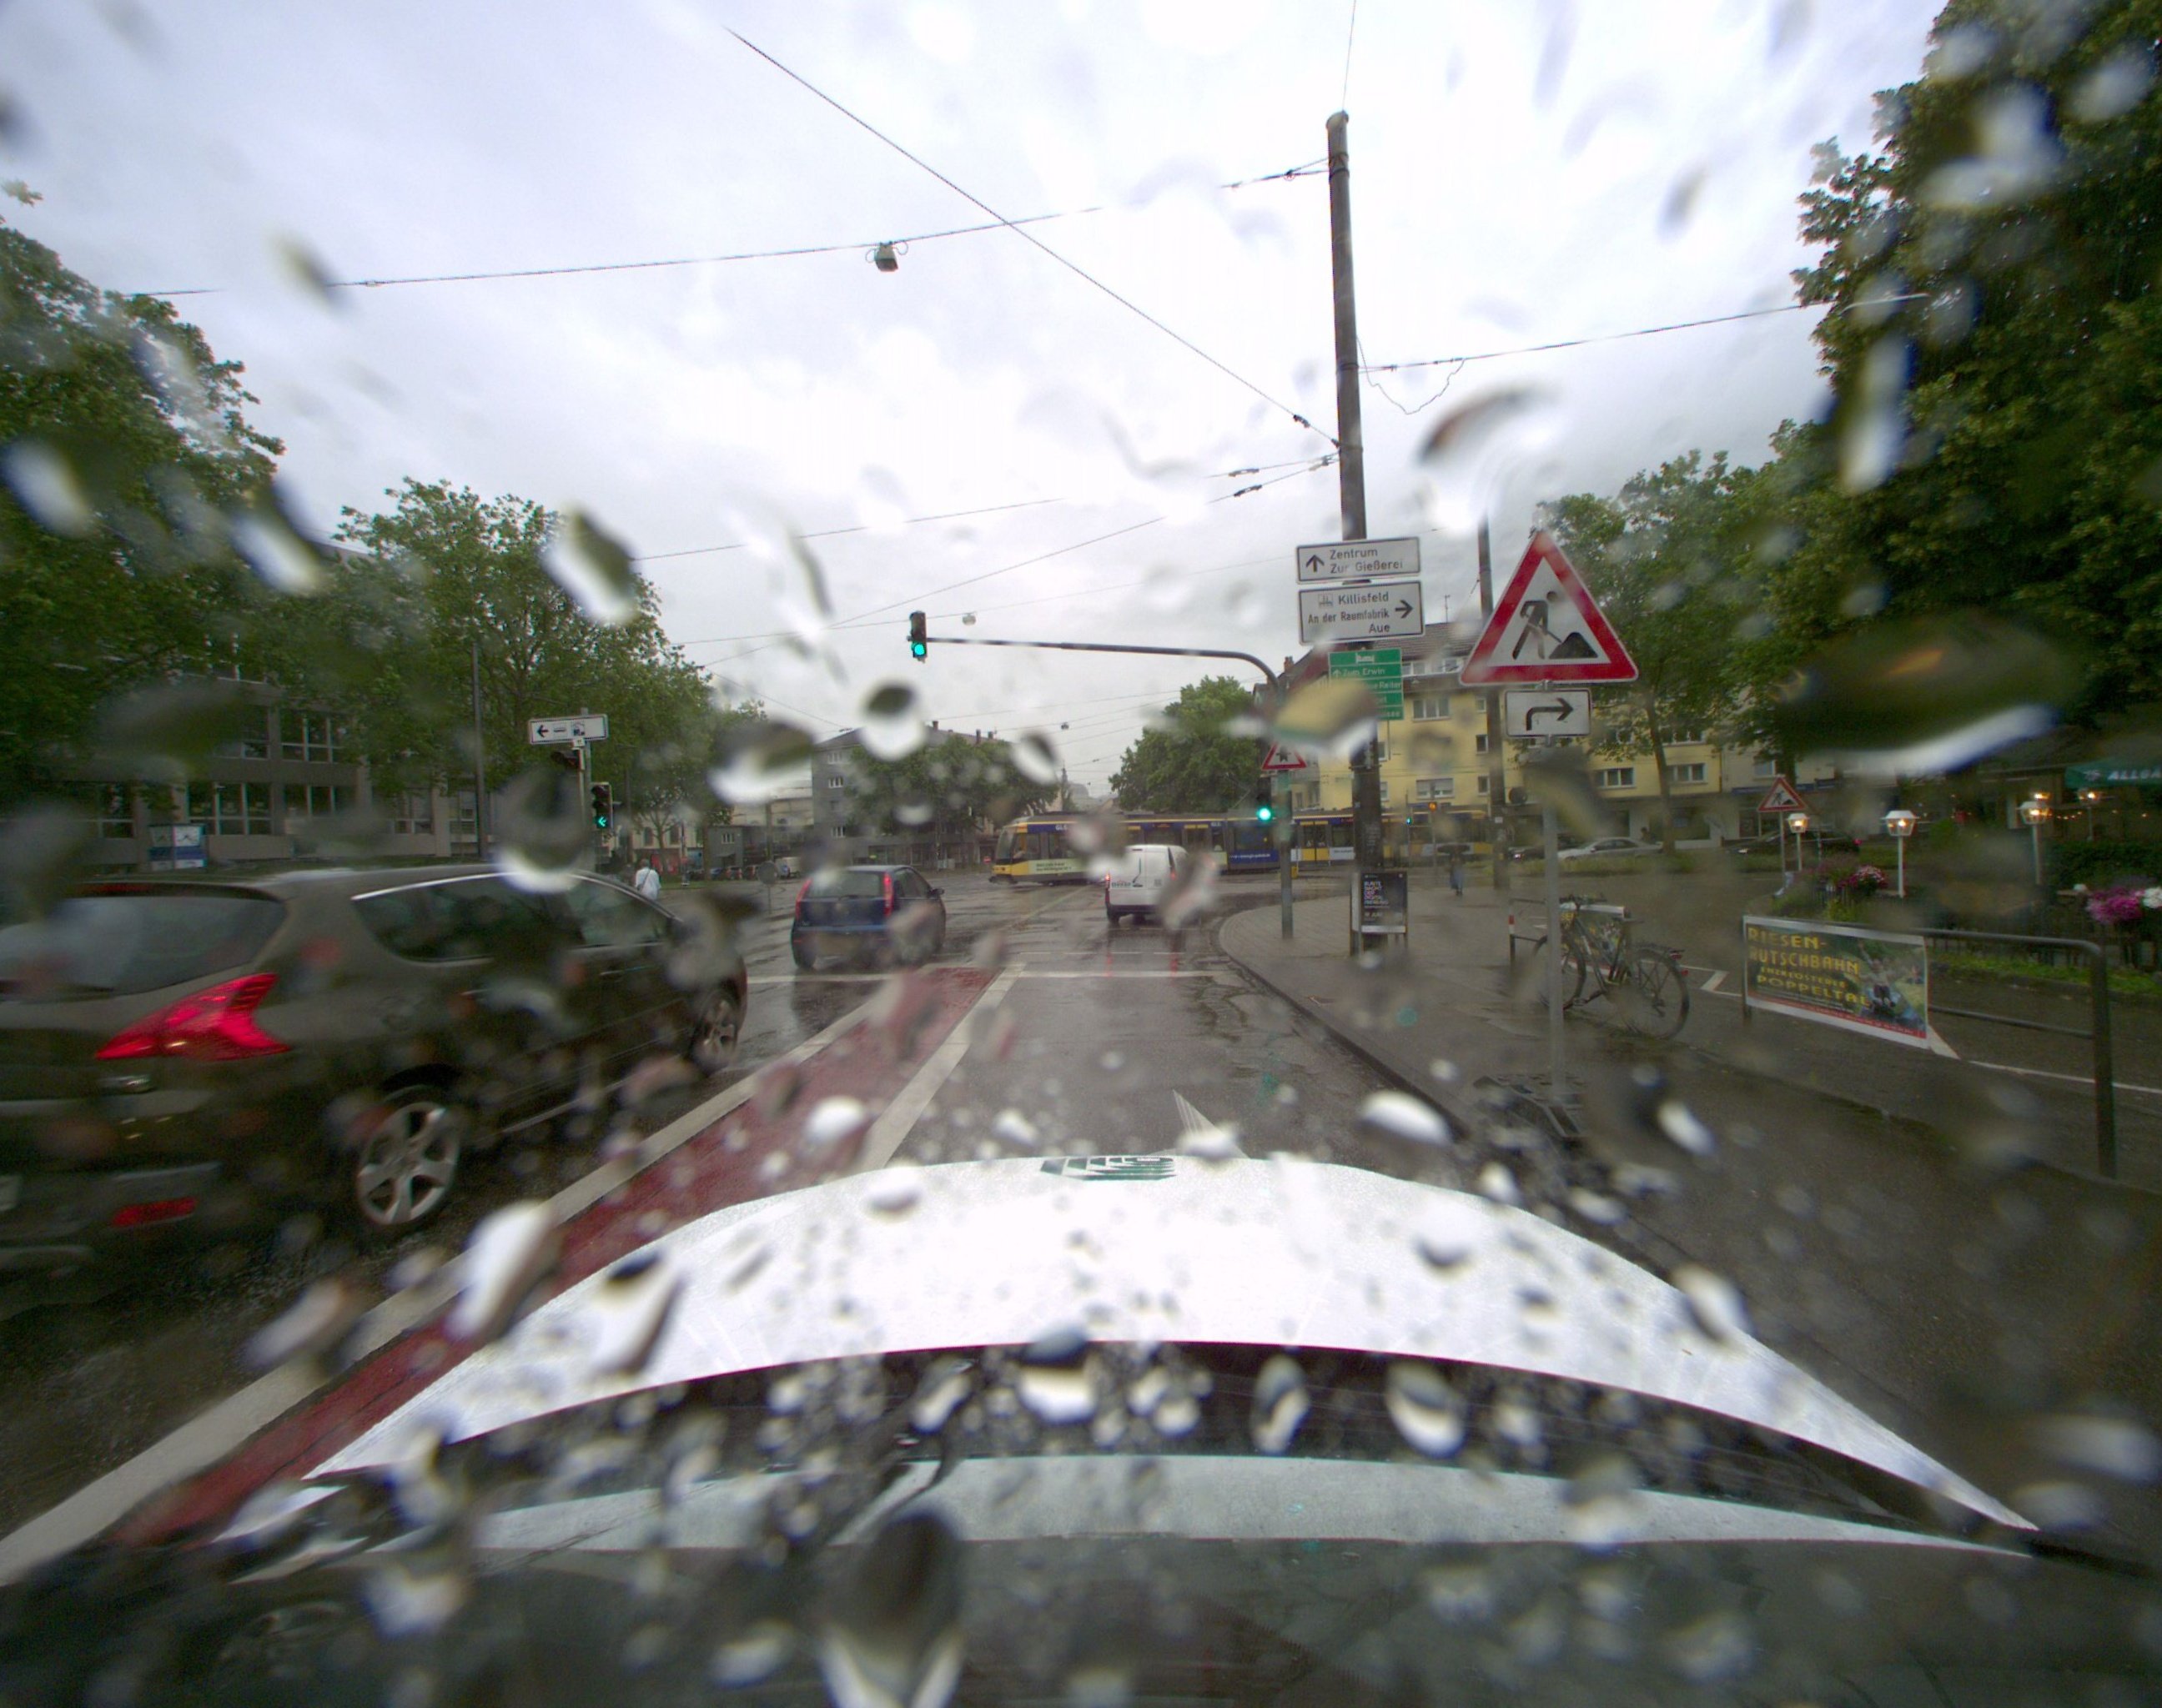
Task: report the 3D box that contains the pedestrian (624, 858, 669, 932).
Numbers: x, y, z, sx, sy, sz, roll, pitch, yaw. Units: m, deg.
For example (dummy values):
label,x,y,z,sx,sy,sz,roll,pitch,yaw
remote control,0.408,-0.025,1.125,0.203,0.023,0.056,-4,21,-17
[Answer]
label,x,y,z,sx,sy,sz,roll,pitch,yaw
pedestrian,-9.871,0.907,18.495,0.739,1.610,0.710,-3,1,-37

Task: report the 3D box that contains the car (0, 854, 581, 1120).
label,x,y,z,sx,sy,sz,roll,pitch,yaw
car,-6.643,0.831,7.068,1.799,1.536,4.194,-2,1,3

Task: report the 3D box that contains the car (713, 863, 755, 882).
label,x,y,z,sx,sy,sz,roll,pitch,yaw
car,-39.497,2.092,92.705,1.974,2.014,4.025,-1,-1,31

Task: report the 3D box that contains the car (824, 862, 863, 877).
label,x,y,z,sx,sy,sz,roll,pitch,yaw
car,-25.527,1.651,87.700,1.933,1.625,4.020,-1,-1,20

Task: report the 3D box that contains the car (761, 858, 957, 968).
label,x,y,z,sx,sy,sz,roll,pitch,yaw
car,-3.294,0.819,12.930,1.875,1.459,3.834,-1,-1,3

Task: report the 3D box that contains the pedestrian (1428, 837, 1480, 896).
label,x,y,z,sx,sy,sz,roll,pitch,yaw
pedestrian,11.003,0.343,23.997,1.003,1.666,1.092,-2,1,-45

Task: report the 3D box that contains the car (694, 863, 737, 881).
label,x,y,z,sx,sy,sz,roll,pitch,yaw
car,-42.099,2.078,93.843,1.974,1.928,4.026,-1,1,36

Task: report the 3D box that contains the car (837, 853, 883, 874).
label,x,y,z,sx,sy,sz,roll,pitch,yaw
car,-23.239,1.009,85.849,2.041,2.013,4.426,-1,1,32

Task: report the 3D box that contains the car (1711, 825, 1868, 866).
label,x,y,z,sx,sy,sz,roll,pitch,yaw
car,29.442,-0.360,34.003,4.590,1.485,1.870,-2,1,15

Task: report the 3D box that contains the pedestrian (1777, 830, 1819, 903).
label,x,y,z,sx,sy,sz,roll,pitch,yaw
pedestrian,16.775,0.291,19.057,0.546,1.644,0.389,-4,0,3

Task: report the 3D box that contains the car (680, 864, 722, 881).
label,x,y,z,sx,sy,sz,roll,pitch,yaw
car,-44.930,2.131,96.443,1.974,1.763,4.026,-2,1,32

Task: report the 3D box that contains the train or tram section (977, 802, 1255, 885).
label,x,y,z,sx,sy,sz,roll,pitch,yaw
train or tram section,2.189,-0.704,41.310,14.622,3.558,3.086,-3,1,-30

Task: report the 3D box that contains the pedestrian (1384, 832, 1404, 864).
label,x,y,z,sx,sy,sz,roll,pitch,yaw
pedestrian,16.717,-0.310,43.487,0.804,1.677,1.023,-2,0,28

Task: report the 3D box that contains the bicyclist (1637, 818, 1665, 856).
label,x,y,z,sx,sy,sz,roll,pitch,yaw
bicyclist,26.648,-0.793,38.083,0.881,1.716,0.717,-1,1,12

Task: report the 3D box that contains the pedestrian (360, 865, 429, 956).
label,x,y,z,sx,sy,sz,roll,pitch,yaw
pedestrian,-13.693,1.101,16.277,0.954,1.711,0.820,-3,1,-37

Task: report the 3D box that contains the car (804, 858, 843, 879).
label,x,y,z,sx,sy,sz,roll,pitch,yaw
car,-27.857,1.568,88.255,1.977,2.013,4.019,-2,1,18

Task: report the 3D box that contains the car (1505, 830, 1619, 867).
label,x,y,z,sx,sy,sz,roll,pitch,yaw
car,22.655,-0.269,38.500,4.243,1.501,1.885,-2,1,10

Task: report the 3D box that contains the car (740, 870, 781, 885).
label,x,y,z,sx,sy,sz,roll,pitch,yaw
car,-35.631,2.580,90.625,1.975,1.614,4.023,-2,-2,27

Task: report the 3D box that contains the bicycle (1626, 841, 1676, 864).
label,x,y,z,sx,sy,sz,roll,pitch,yaw
bicycle,26.658,-0.072,38.099,1.798,1.031,0.722,-1,1,12

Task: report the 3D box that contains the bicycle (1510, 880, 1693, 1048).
label,x,y,z,sx,sy,sz,roll,pitch,yaw
bicycle,4.358,0.851,6.973,0.420,1.168,1.793,0,1,0

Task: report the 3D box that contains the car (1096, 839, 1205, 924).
label,x,y,z,sx,sy,sz,roll,pitch,yaw
car,1.815,0.575,19.859,1.889,1.797,4.131,-1,1,15

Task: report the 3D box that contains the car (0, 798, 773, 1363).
label,x,y,z,sx,sy,sz,roll,pitch,yaw
car,-3.534,0.665,4.577,1.794,1.709,4.194,-1,1,3

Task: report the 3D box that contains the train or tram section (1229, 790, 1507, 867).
label,x,y,z,sx,sy,sz,roll,pitch,yaw
train or tram section,15.927,-1.430,45.683,14.598,3.558,3.112,-2,1,-4

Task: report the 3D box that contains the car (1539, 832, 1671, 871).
label,x,y,z,sx,sy,sz,roll,pitch,yaw
car,22.605,-0.117,35.304,4.452,1.489,1.747,-2,1,15

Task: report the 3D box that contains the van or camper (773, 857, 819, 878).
label,x,y,z,sx,sy,sz,roll,pitch,yaw
van or camper,-30.887,1.434,88.428,1.975,2.075,4.682,-2,0,25
